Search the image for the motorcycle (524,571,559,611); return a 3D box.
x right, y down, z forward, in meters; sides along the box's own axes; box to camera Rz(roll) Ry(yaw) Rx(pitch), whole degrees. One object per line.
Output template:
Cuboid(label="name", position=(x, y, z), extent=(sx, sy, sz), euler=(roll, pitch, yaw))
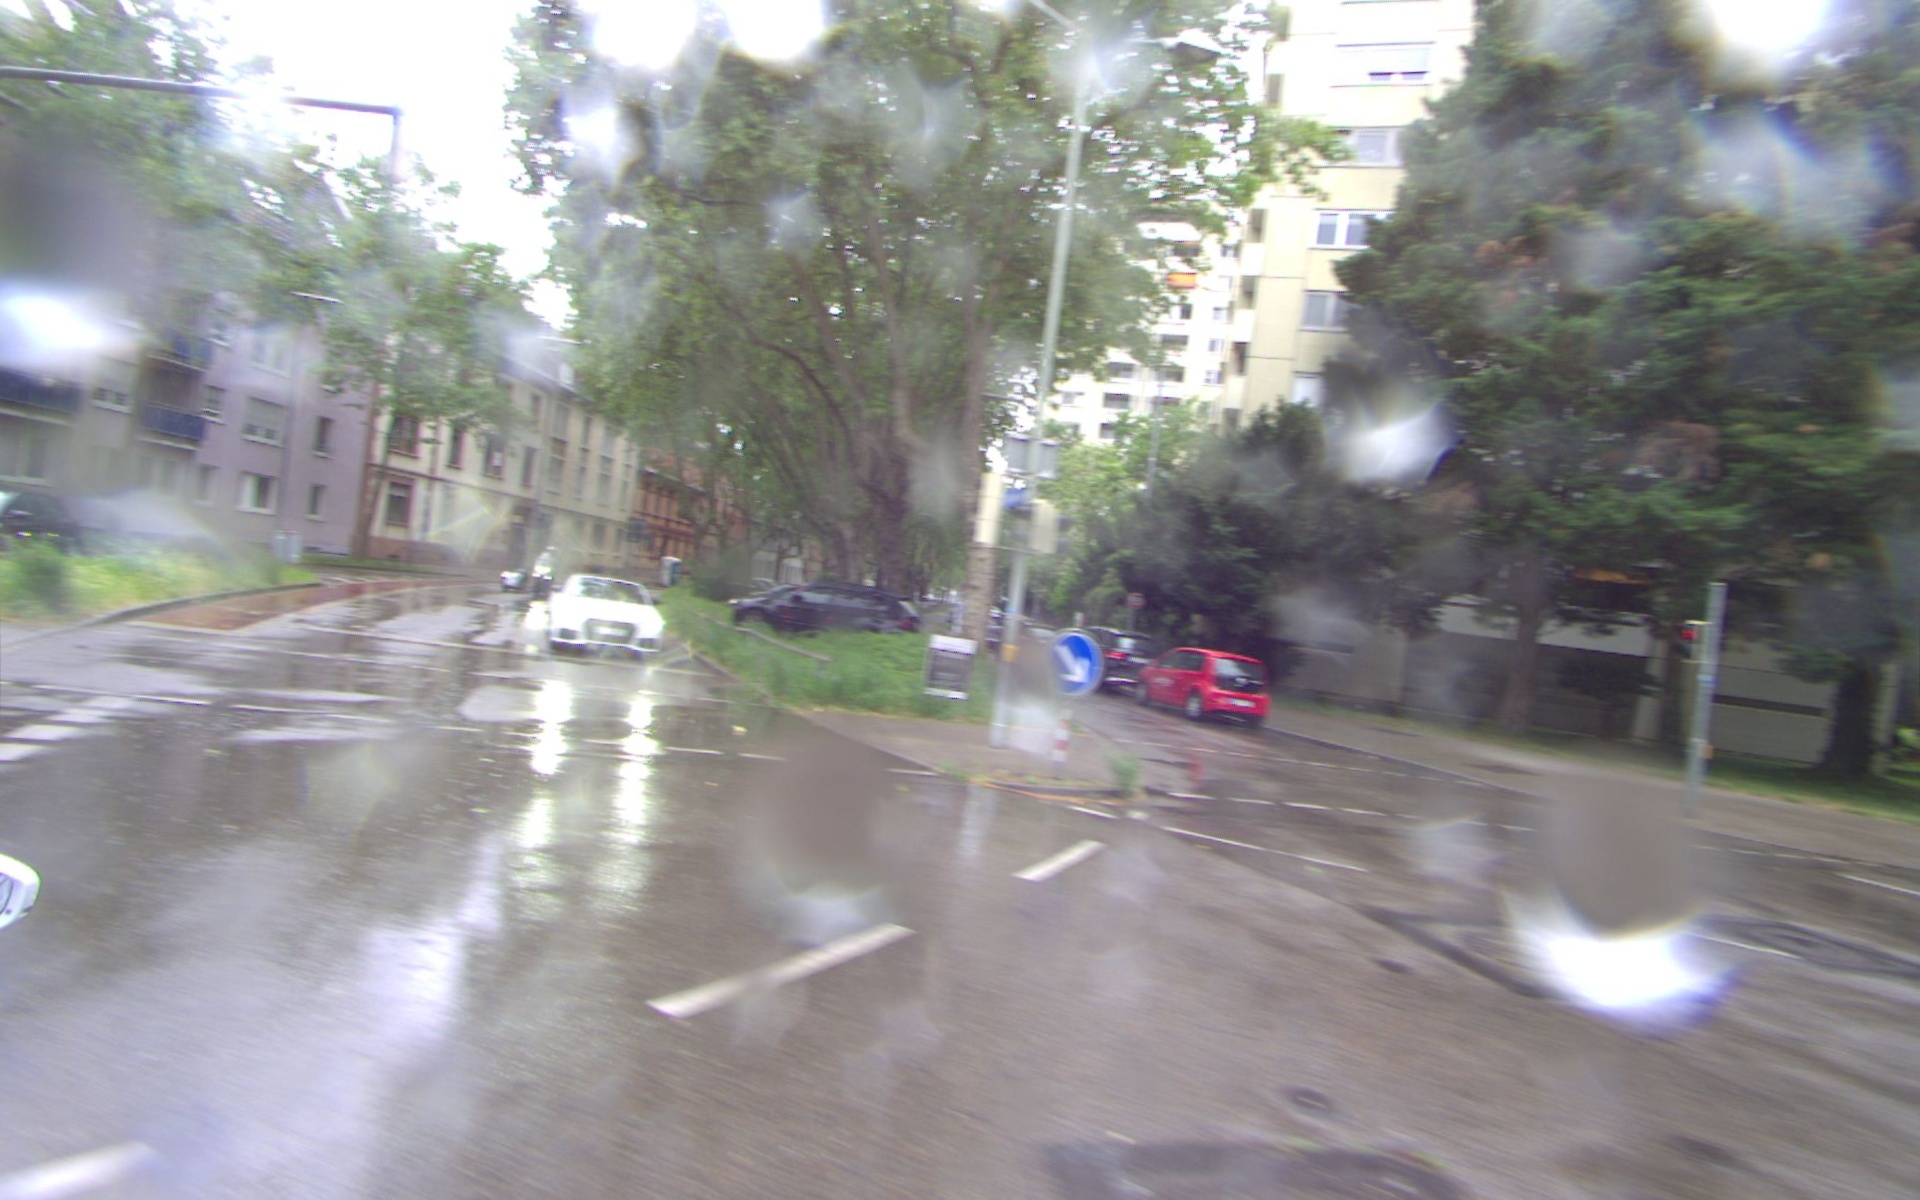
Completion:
Cuboid(label="motorcycle", position=(-14.730, -0.328, 35.448), extent=(0.869, 1.229, 2.065), euler=(7, 0, -19))

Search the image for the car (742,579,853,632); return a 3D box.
Cuboid(label="car", position=(-6.088, 0.182, 38.001), extent=(3.773, 1.440, 1.884), euler=(8, 1, -2))

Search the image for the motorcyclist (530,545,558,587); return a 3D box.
Cuboid(label="motorcyclist", position=(-14.686, -1.194, 35.542), extent=(0.747, 1.368, 0.751), euler=(7, 1, -20))

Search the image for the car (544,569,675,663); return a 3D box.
Cuboid(label="car", position=(-6.578, 0.221, 18.612), extent=(1.879, 1.291, 4.148), euler=(7, -1, -24))

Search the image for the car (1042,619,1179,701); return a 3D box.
Cuboid(label="car", position=(3.887, 1.512, 26.839), extent=(1.910, 1.627, 4.442), euler=(7, 0, -14))

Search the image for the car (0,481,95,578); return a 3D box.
Cuboid(label="car", position=(-16.155, -1.242, 16.217), extent=(1.968, 1.479, 4.156), euler=(8, 0, -22))

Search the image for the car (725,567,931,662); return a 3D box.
Cuboid(label="car", position=(-3.192, 0.356, 24.763), extent=(4.515, 1.684, 1.876), euler=(8, 0, 10))

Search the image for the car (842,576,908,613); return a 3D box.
Cuboid(label="car", position=(-7.864, -0.494, 92.520), extent=(5.875, 2.682, 1.995), euler=(7, 0, 33))

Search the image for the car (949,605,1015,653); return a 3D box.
Cuboid(label="car", position=(0.865, 1.190, 42.522), extent=(1.900, 1.653, 3.993), euler=(7, 0, -9))

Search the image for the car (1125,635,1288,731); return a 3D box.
Cuboid(label="car", position=(5.277, 1.752, 21.999), extent=(1.815, 1.543, 3.449), euler=(7, 0, -17))

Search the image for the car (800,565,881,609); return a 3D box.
Cuboid(label="car", position=(-8.705, -0.970, 72.909), extent=(5.518, 2.430, 2.227), euler=(7, 0, 36))

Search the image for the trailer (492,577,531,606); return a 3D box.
Cuboid(label="trailer", position=(-15.701, -0.320, 35.274), extent=(1.012, 0.852, 1.477), euler=(7, 0, -18))

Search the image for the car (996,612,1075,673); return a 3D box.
Cuboid(label="car", position=(2.387, 1.329, 32.774), extent=(1.808, 1.615, 3.483), euler=(7, 0, -6))
